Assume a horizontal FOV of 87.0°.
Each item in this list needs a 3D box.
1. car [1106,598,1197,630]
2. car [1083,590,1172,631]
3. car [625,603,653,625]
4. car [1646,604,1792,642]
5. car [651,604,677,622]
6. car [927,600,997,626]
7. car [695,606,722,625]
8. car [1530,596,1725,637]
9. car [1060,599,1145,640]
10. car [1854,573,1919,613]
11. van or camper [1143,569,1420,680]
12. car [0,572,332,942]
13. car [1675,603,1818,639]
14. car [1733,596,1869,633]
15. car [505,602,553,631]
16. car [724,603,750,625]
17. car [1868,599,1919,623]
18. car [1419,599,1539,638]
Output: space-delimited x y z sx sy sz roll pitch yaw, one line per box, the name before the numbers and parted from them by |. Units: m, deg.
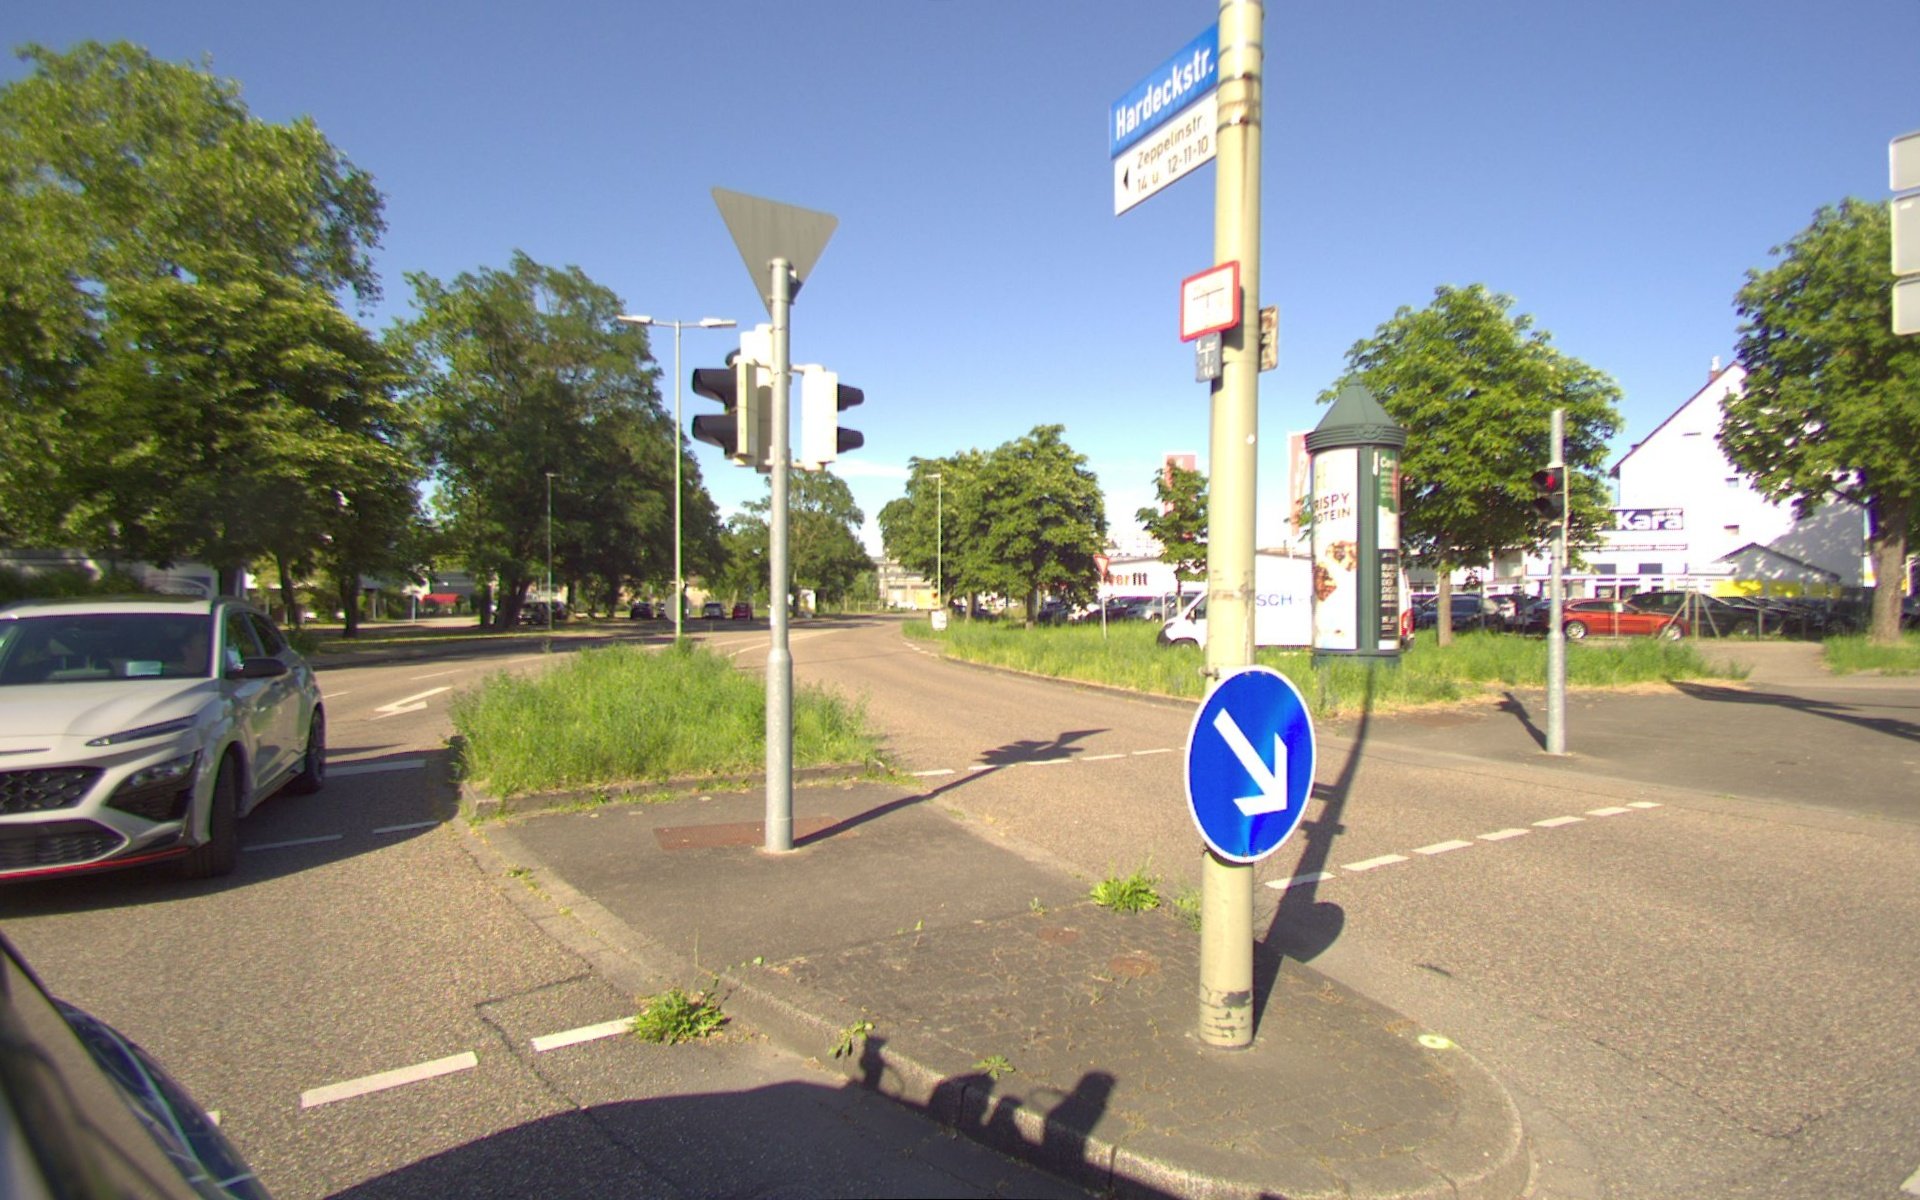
car | 9.056 0.656 47.749 3.931 1.419 1.845 -1 0 -29
car | 8.389 0.520 50.846 3.930 2.029 2.007 0 -1 -22
car | -25.910 1.109 81.820 1.709 1.631 4.010 2 0 -12
car | 26.884 0.800 36.010 3.918 1.250 2.023 -1 0 31
car | -25.767 1.112 88.139 1.841 1.451 3.492 2 0 -12
car | 0.114 0.776 60.878 3.936 1.541 1.932 0 -1 -9
car | -20.776 1.278 83.720 1.967 1.461 4.010 2 0 -12
car | 22.561 0.558 34.481 5.017 1.320 2.348 -1 0 18
car | 7.475 0.980 53.224 3.930 2.029 2.007 -1 0 -23
car | 38.927 -0.303 40.792 3.985 1.572 1.979 -1 0 31
van or camper | 8.332 0.668 26.345 6.575 2.602 2.583 -2 -2 26
car | -5.241 0.667 6.339 1.686 1.658 4.069 1 1 -24
car | 29.153 0.770 37.684 3.918 1.250 2.023 -1 0 31
car | 37.658 0.630 45.465 4.389 1.587 1.796 -1 0 29
car | -28.733 1.058 67.597 1.978 1.809 4.007 -1 0 -8
car | -18.435 1.140 83.775 1.967 1.679 4.010 2 0 -12
car | 59.843 0.681 63.645 3.640 1.521 1.774 -1 0 19
car | 21.342 0.766 41.767 1.803 1.517 4.010 0 -1 -35
